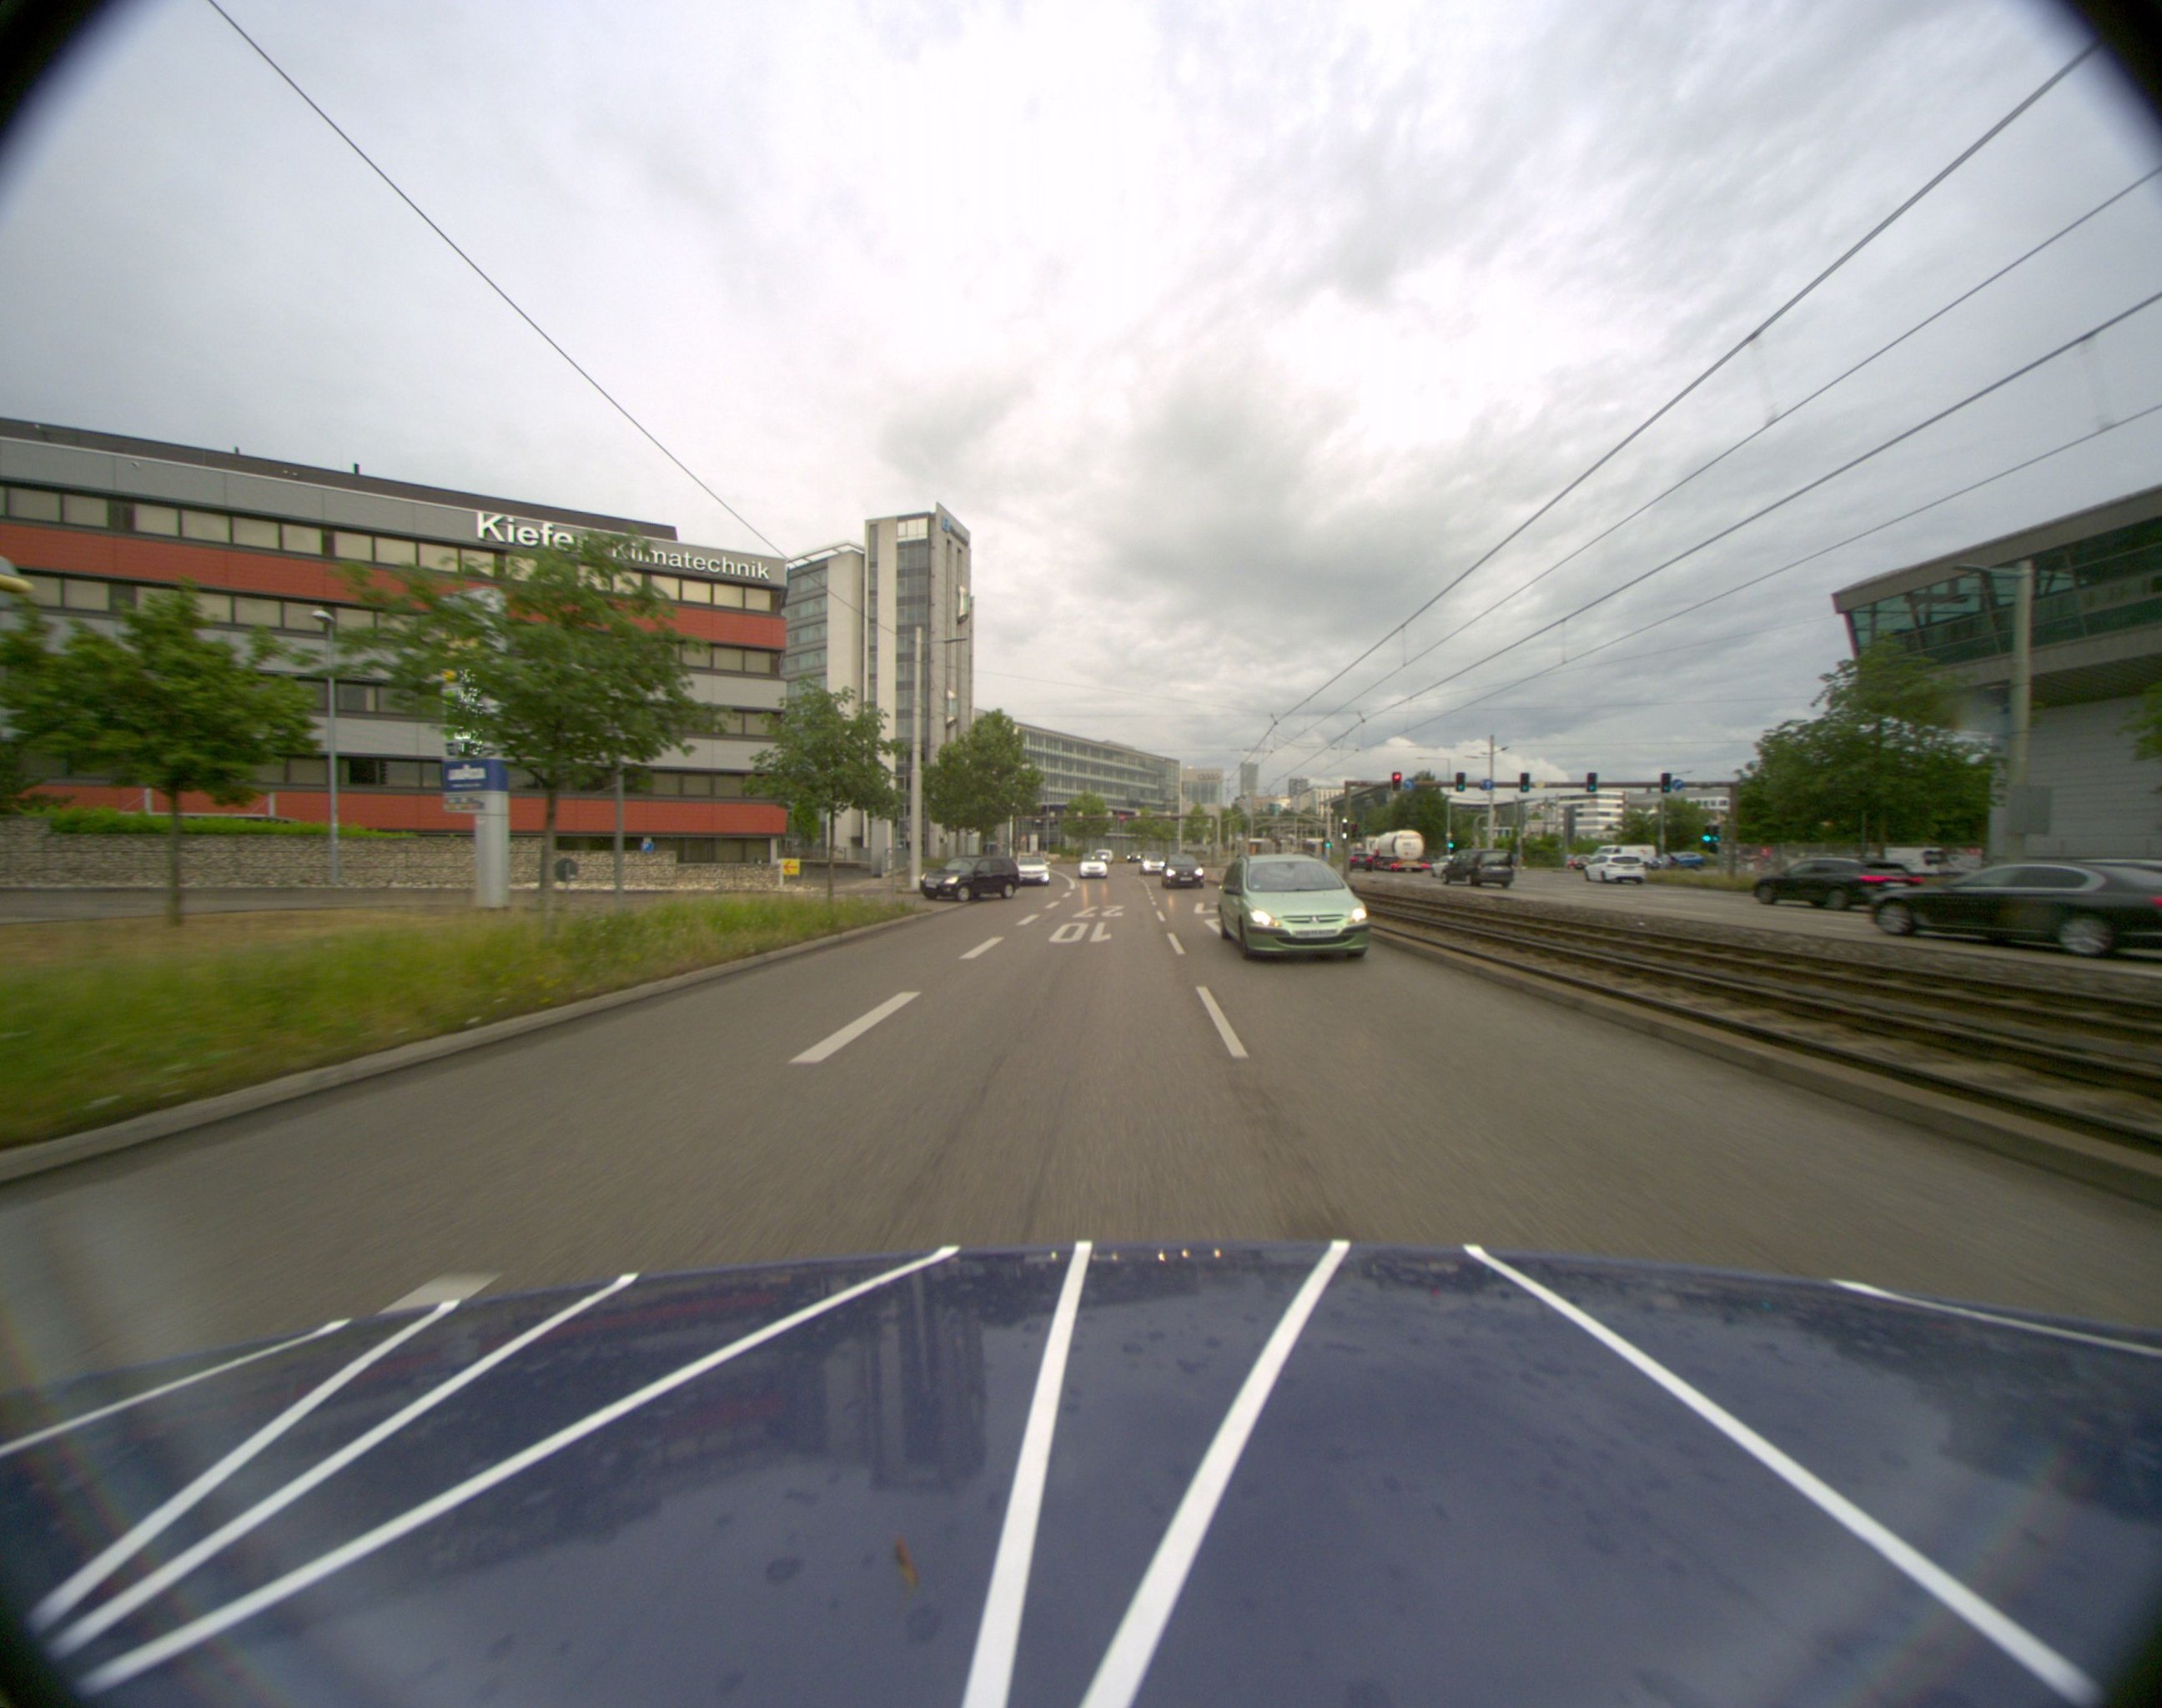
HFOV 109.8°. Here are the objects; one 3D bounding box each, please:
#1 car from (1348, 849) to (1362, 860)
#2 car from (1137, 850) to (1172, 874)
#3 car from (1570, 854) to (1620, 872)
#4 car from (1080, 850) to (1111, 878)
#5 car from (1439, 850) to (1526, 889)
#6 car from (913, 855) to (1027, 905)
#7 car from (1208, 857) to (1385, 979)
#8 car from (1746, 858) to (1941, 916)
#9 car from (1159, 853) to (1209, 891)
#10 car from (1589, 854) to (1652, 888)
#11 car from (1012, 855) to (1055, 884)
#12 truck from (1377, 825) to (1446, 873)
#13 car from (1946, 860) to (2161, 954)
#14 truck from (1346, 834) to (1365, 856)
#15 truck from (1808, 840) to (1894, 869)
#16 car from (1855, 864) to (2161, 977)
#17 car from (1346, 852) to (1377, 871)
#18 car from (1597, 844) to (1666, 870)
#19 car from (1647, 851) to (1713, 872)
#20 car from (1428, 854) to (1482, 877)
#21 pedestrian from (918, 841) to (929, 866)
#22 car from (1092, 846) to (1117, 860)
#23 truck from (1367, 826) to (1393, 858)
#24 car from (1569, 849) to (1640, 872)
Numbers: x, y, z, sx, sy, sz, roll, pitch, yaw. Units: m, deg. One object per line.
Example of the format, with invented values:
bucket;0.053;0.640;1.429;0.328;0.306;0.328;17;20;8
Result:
car;40.690;0.024;112.928;1.813;1.565;4.007;1;0;22
car;5.009;0.548;52.192;1.762;1.535;3.713;-2;0;-3
car;53.009;0.933;78.489;3.990;1.783;2.004;1;0;24
car;0.849;0.581;46.934;1.818;1.584;3.836;1;1;0
car;19.211;0.684;36.616;1.998;1.721;4.679;1;0;4
car;-4.122;0.928;29.003;1.789;1.637;4.368;-2;1;33
car;3.170;0.853;12.026;1.762;1.489;4.138;-2;0;3
car;24.393;0.985;24.591;1.998;1.673;4.475;1;0;4
car;4.606;0.776;34.372;1.762;1.535;3.714;-2;0;0
car;30.615;0.913;43.251;1.812;1.815;3.876;1;0;18
car;-2.476;0.781;40.413;1.878;1.485;3.837;0;0;2
truck;27.935;-0.398;64.832;4.084;3.734;10.867;1;0;17
car;20.463;0.987;14.970;1.944;1.661;4.510;1;0;6
truck;55.097;-1.753;152.336;3.380;4.115;7.641;1;0;20
truck;56.665;0.025;55.978;2.003;2.002;3.992;1;0;-23
car;16.045;0.964;12.515;1.951;1.476;4.998;2;0;8
car;23.589;0.617;63.999;1.819;1.565;4.003;1;0;10
car;49.722;0.286;68.718;5.064;2.318;1.998;1;0;-8
car;50.757;0.630;64.432;4.253;1.705;1.912;1;0;-4
car;23.986;0.722;48.922;1.798;1.437;3.925;1;0;5
pedestrian;-11.893;-0.018;57.341;0.683;1.889;0.677;-3;1;-23
car;2.935;-0.091;92.639;1.887;1.584;3.987;1;0;20
truck;43.804;-1.689;111.046;3.261;4.503;7.104;1;0;23
car;43.982;0.526;63.853;4.661;1.824;1.999;1;0;-3
